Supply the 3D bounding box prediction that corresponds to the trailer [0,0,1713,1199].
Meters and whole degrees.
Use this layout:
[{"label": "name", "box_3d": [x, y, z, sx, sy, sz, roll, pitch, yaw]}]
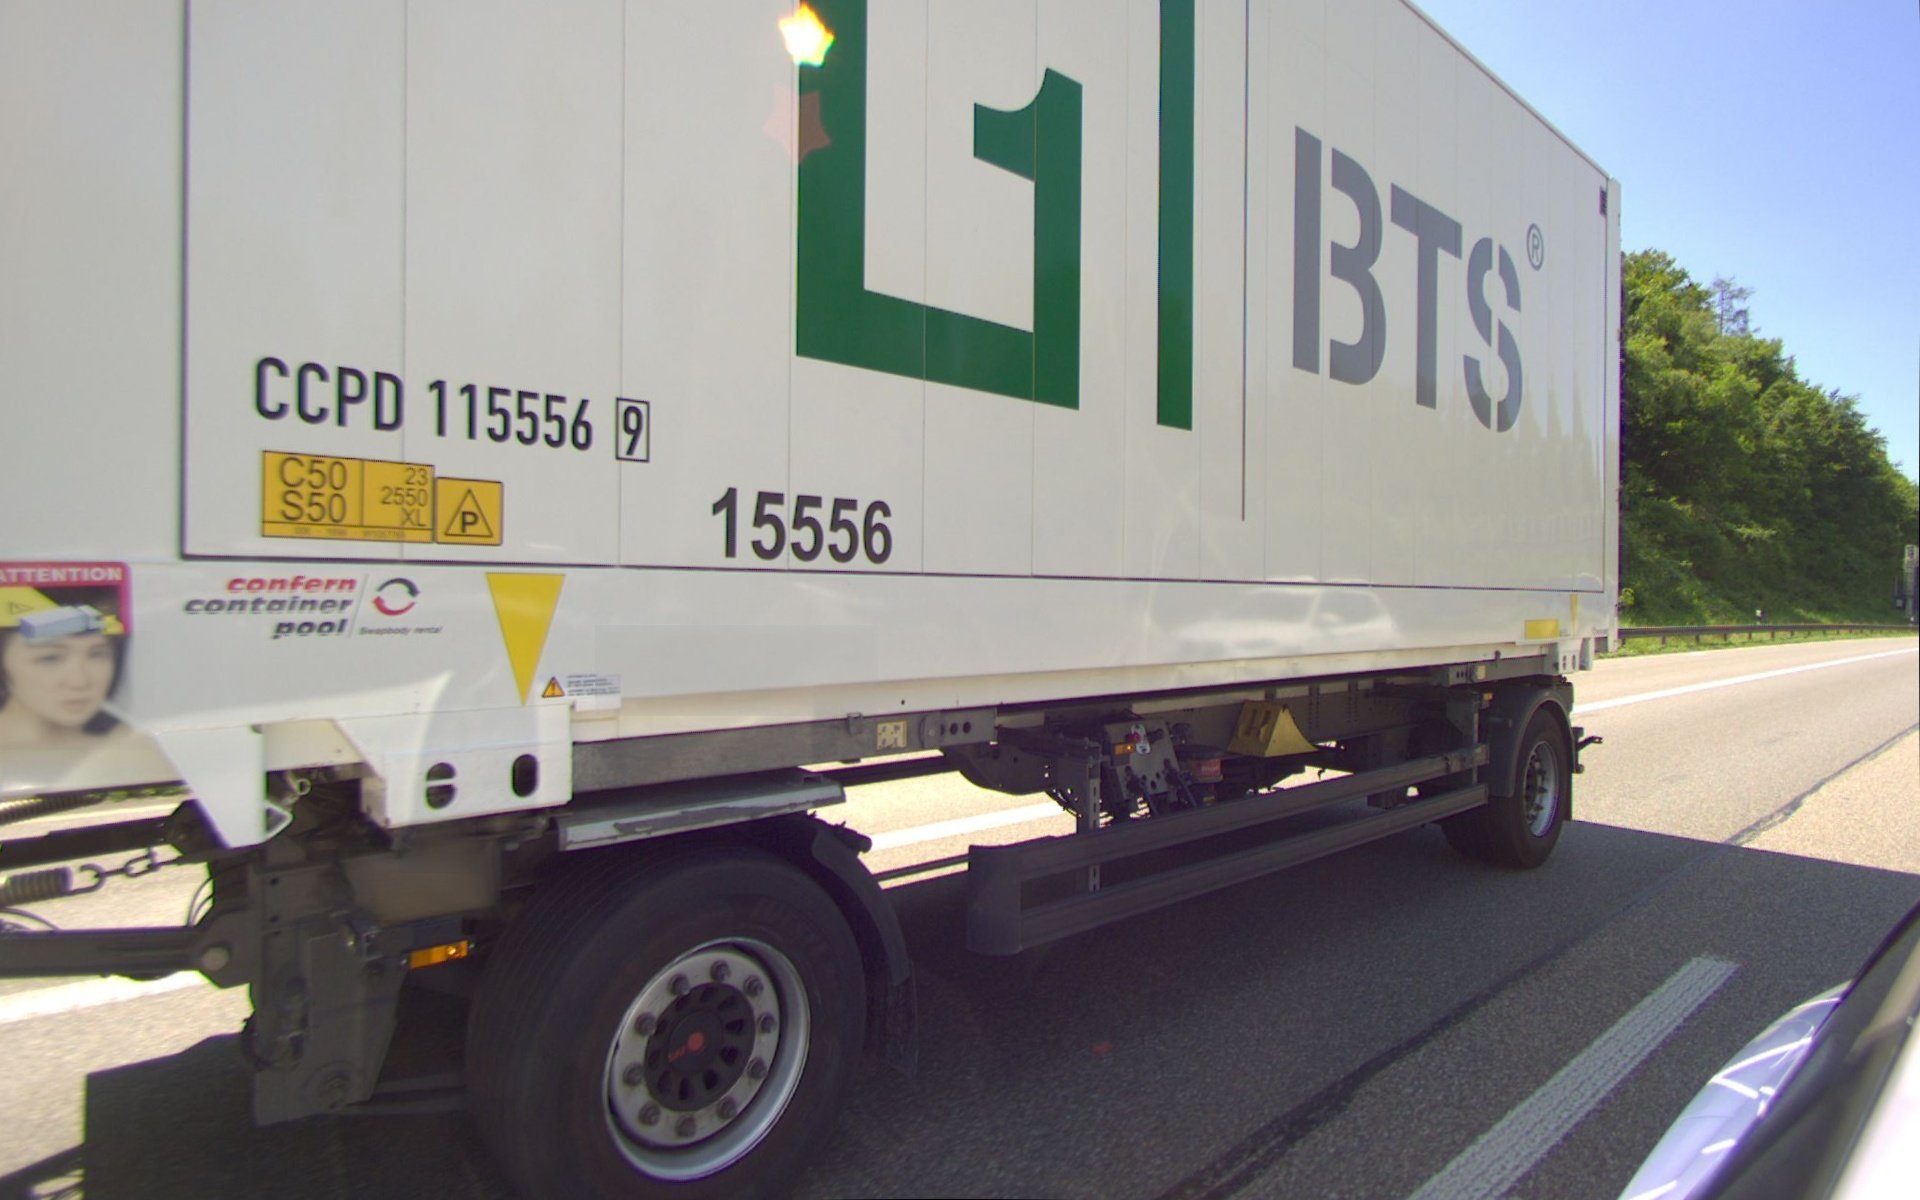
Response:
[{"label": "trailer", "box_3d": [0.800, -0.737, 5.009, 9.888, 4.229, 2.684, 1, -1, -41]}]
